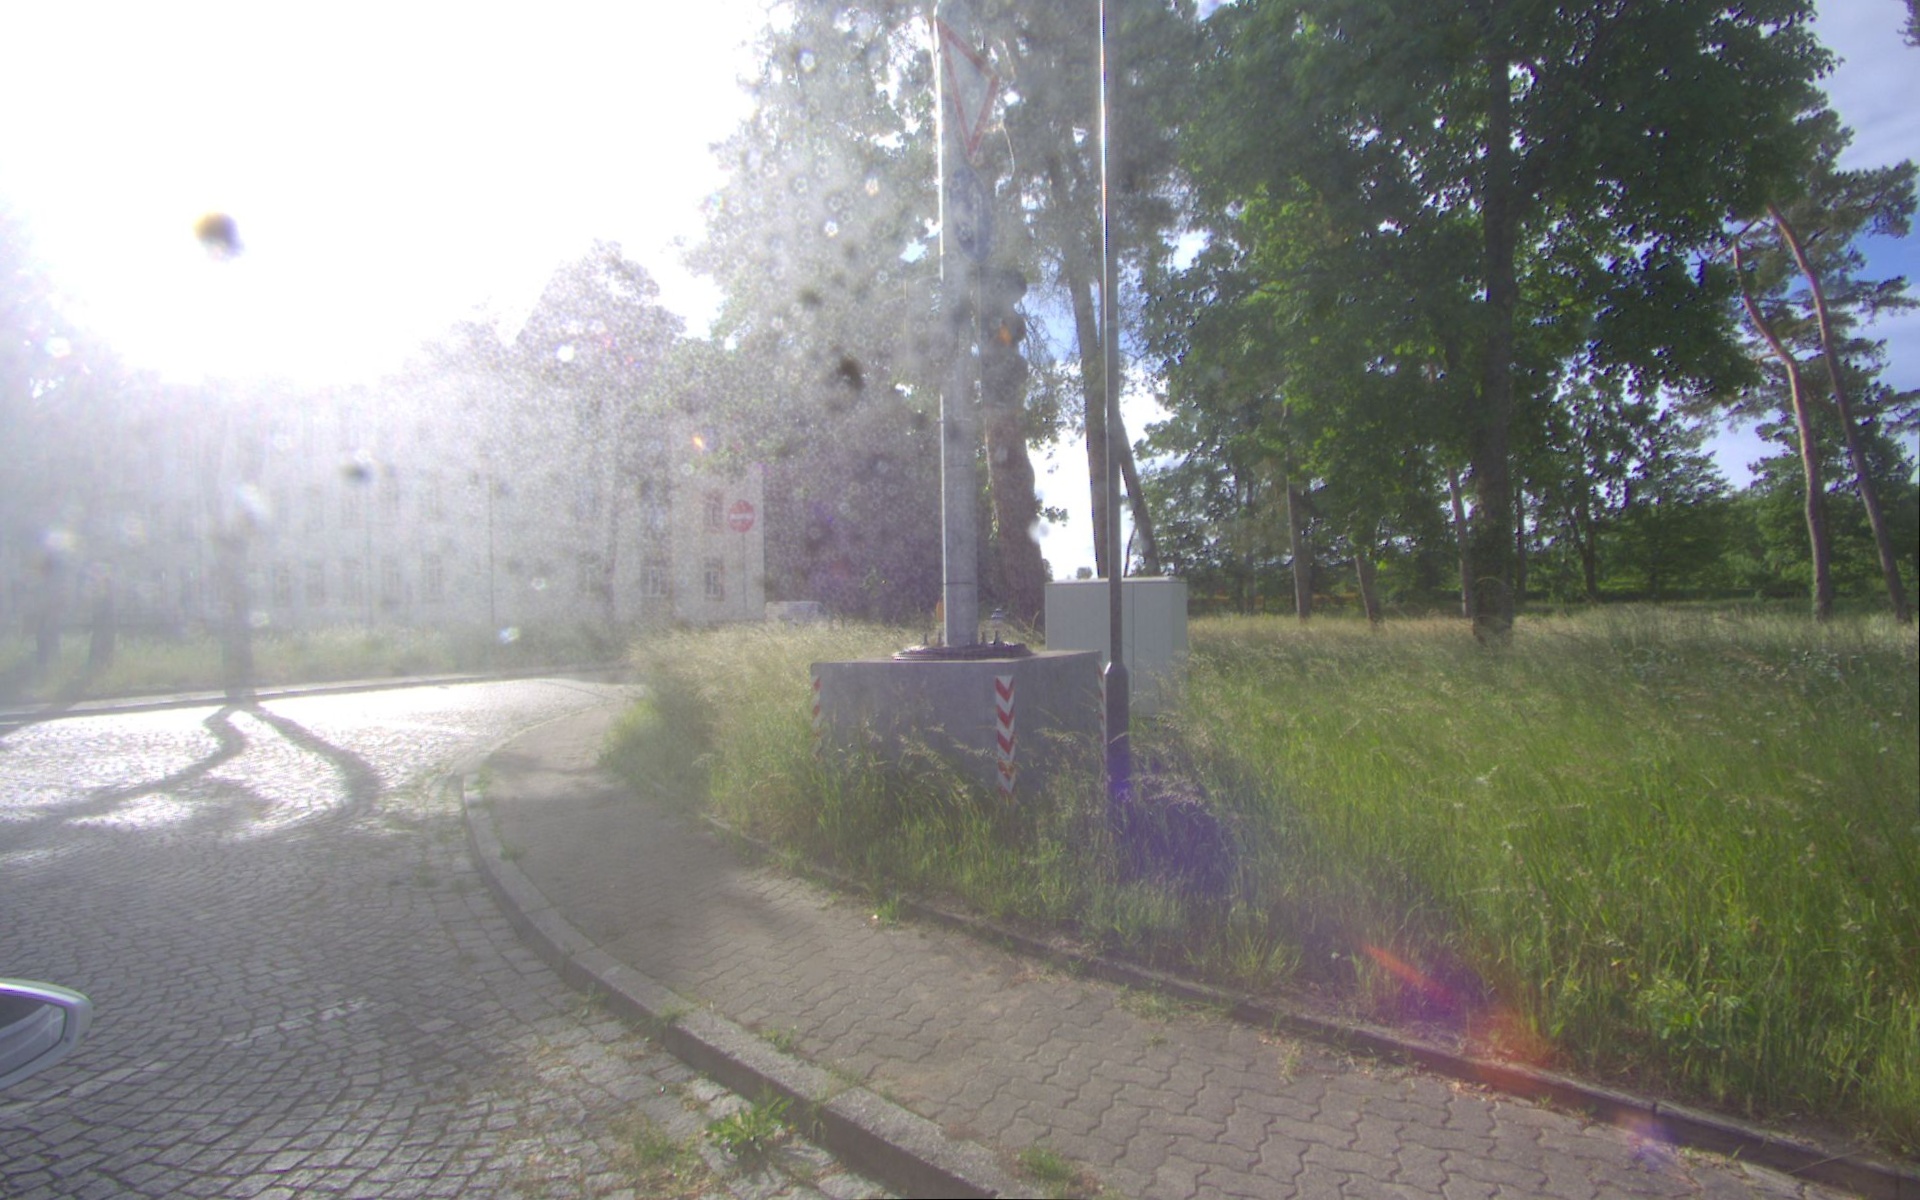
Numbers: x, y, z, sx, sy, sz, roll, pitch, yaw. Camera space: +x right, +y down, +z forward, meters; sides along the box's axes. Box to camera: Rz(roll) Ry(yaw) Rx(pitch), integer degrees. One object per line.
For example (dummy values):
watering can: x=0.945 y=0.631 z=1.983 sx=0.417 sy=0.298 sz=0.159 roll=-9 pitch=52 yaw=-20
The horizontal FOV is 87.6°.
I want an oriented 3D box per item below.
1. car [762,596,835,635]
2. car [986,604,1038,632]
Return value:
car: x=-11.018 y=1.041 z=68.669 sx=2.230 sy=2.569 sz=5.153 roll=-1 pitch=-1 yaw=29
car: x=3.240 y=1.098 z=61.723 sx=1.826 sy=1.701 sz=3.932 roll=-1 pitch=-1 yaw=25
